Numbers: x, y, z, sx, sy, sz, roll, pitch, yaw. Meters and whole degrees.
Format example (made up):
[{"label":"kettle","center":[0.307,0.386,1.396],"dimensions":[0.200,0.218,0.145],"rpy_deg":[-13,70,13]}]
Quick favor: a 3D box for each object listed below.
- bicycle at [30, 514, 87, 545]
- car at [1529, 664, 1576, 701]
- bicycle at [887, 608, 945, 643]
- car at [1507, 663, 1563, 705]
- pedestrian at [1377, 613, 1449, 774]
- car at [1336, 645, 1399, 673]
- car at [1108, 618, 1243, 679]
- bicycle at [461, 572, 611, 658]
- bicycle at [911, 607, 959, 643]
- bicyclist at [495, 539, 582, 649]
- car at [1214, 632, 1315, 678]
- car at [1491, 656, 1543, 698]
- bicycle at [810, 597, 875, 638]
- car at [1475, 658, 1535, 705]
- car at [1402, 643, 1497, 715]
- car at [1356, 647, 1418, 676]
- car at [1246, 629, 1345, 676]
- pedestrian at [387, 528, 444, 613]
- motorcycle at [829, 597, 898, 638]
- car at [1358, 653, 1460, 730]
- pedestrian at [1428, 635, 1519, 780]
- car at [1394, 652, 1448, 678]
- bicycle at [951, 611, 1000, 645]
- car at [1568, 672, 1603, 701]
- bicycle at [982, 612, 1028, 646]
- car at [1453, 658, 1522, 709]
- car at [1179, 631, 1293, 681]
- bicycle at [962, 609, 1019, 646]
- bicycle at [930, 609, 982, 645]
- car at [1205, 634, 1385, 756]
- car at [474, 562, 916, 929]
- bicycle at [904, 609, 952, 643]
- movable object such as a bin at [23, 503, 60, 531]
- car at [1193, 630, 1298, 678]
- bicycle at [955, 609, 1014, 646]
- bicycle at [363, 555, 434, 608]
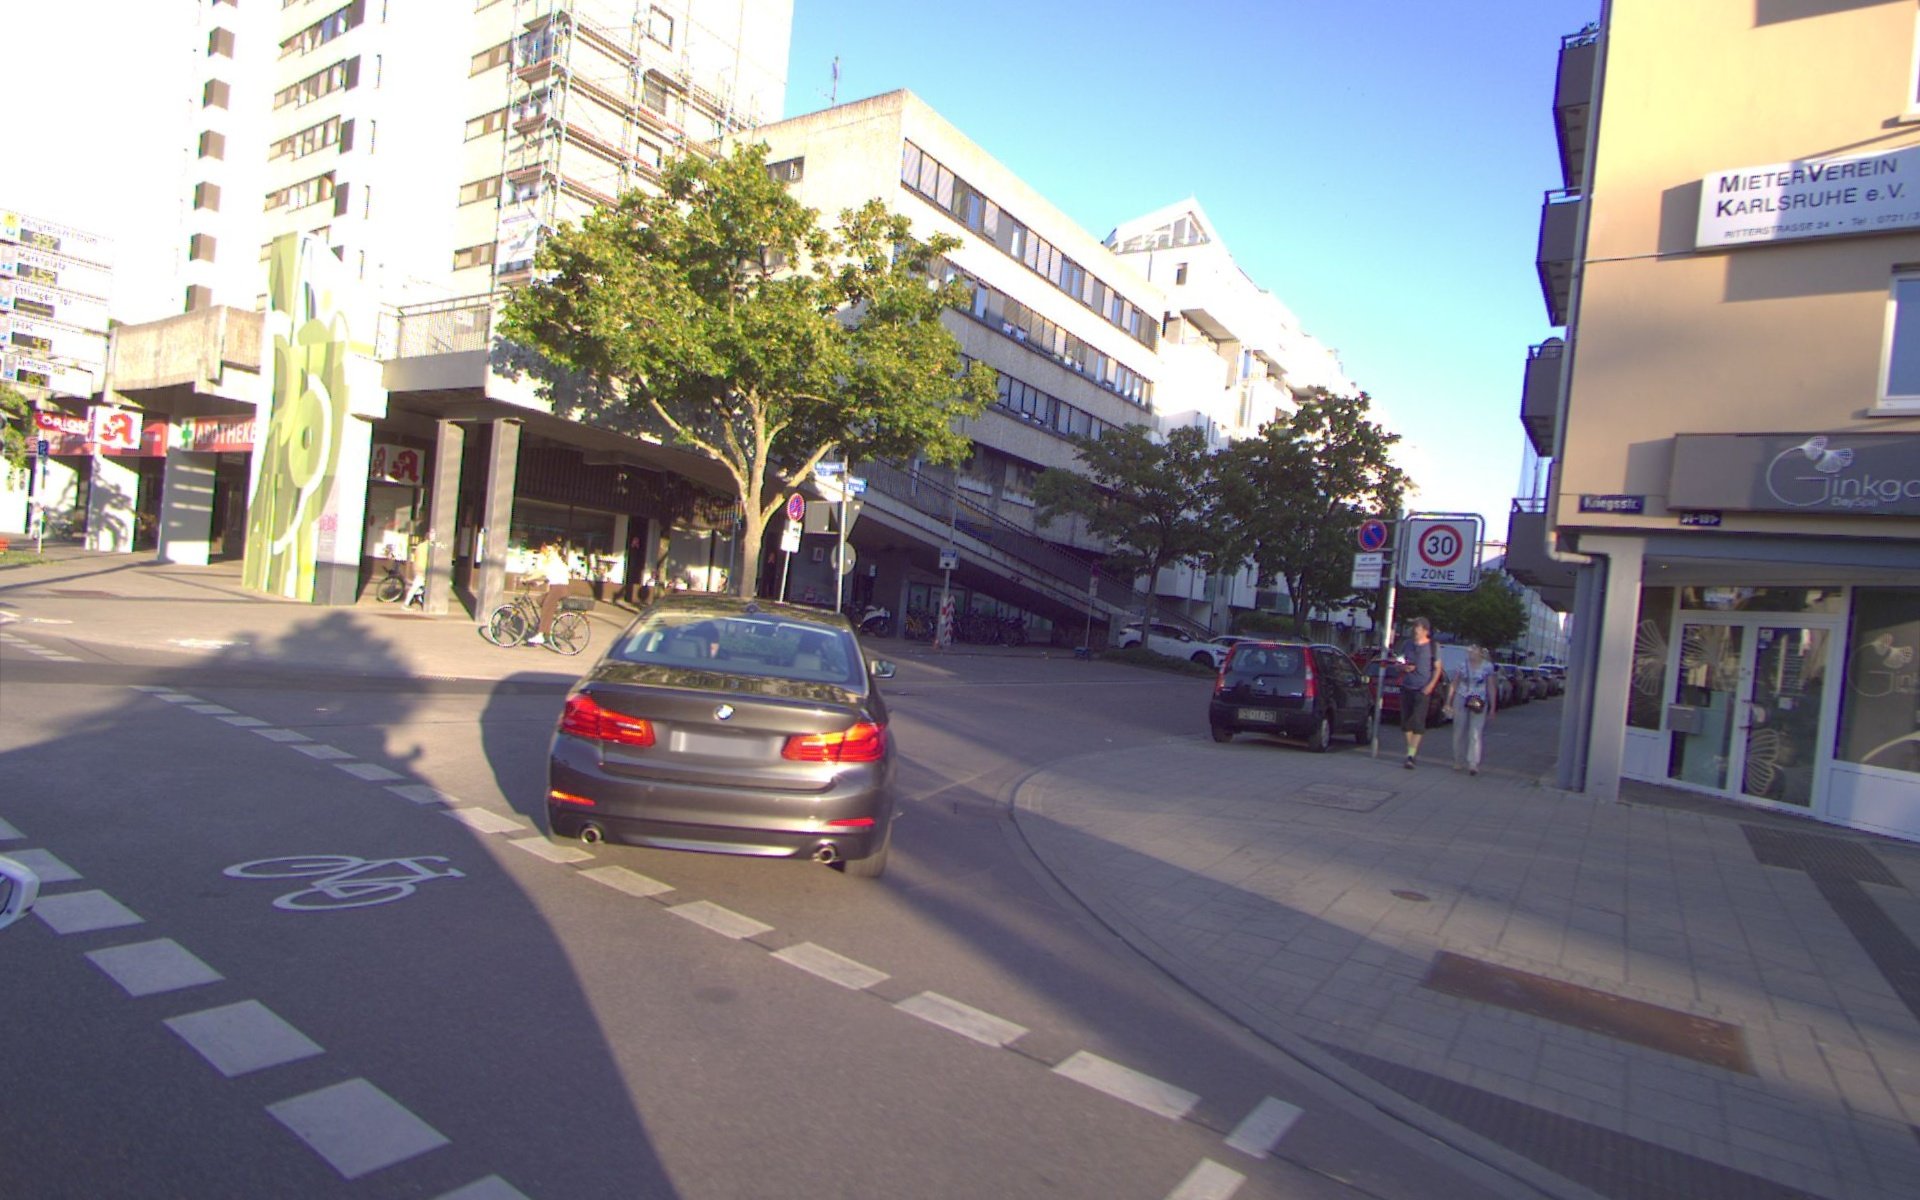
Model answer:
[{"label":"bicycle","center":[-34.886,-2.723,38.959],"dimensions":[0.426,1.062,1.571],"rpy_deg":[6,2,33]},{"label":"car","center":[36.435,5.084,61.758],"dimensions":[2.002,1.849,4.771],"rpy_deg":[6,-2,35]},{"label":"bicycle","center":[-1.471,0.843,33.341],"dimensions":[1.736,0.963,0.698],"rpy_deg":[7,2,30]},{"label":"car","center":[31.855,4.688,55.660],"dimensions":[2.125,1.849,4.771],"rpy_deg":[6,-2,35]},{"label":"pedestrian","center":[5.630,1.147,12.493],"dimensions":[0.535,1.882,0.838],"rpy_deg":[5,0,35]},{"label":"car","center":[26.484,3.864,65.472],"dimensions":[3.480,1.337,1.441],"rpy_deg":[6,-2,34]},{"label":"car","center":[8.099,1.814,37.992],"dimensions":[4.553,1.712,1.750],"rpy_deg":[6,-2,36]},{"label":"bicycle","center":[-7.072,0.240,16.811],"dimensions":[2.107,1.188,0.820],"rpy_deg":[6,1,7]},{"label":"bicycle","center":[-0.867,0.841,34.588],"dimensions":[1.541,1.051,0.484],"rpy_deg":[7,2,31]},{"label":"bicyclist","center":[-7.025,-0.092,16.799],"dimensions":[0.943,1.714,0.820],"rpy_deg":[5,2,7]},{"label":"car","center":[13.853,2.478,45.824],"dimensions":[3.966,1.554,1.638],"rpy_deg":[6,-2,34]},{"label":"car","center":[25.663,3.576,46.297],"dimensions":[1.707,1.573,4.193],"rpy_deg":[6,-2,32]},{"label":"bicycle","center":[-3.753,0.553,32.193],"dimensions":[1.891,1.071,0.781],"rpy_deg":[7,2,30]},{"label":"car","center":[20.865,3.085,38.412],"dimensions":[1.580,1.504,4.238],"rpy_deg":[5,0,33]},{"label":"car","center":[14.610,2.329,29.891],"dimensions":[1.969,1.886,4.528],"rpy_deg":[1,-3,33]},{"label":"car","center":[28.520,4.117,67.158],"dimensions":[3.480,1.477,1.441],"rpy_deg":[6,-2,34]},{"label":"car","center":[16.716,2.611,50.180],"dimensions":[4.215,1.775,1.638],"rpy_deg":[6,-2,34]},{"label":"pedestrian","center":[-11.962,-0.637,22.130],"dimensions":[0.685,1.775,0.724],"rpy_deg":[7,3,11]},{"label":"motorcycle","center":[-3.160,0.565,32.865],"dimensions":[2.117,1.071,0.785],"rpy_deg":[7,2,30]},{"label":"car","center":[10.096,1.997,22.471],"dimensions":[1.629,1.457,4.220],"rpy_deg":[2,-2,30]},{"label":"pedestrian","center":[6.277,1.291,12.281],"dimensions":[0.755,1.635,0.819],"rpy_deg":[5,0,36]},{"label":"car","center":[35.165,4.963,76.780],"dimensions":[3.450,1.471,1.441],"rpy_deg":[6,-2,34]},{"label":"bicycle","center":[0.571,1.027,36.758],"dimensions":[1.539,1.051,0.649],"rpy_deg":[7,2,22]},{"label":"car","center":[49.350,6.853,79.351],"dimensions":[2.002,1.849,4.771],"rpy_deg":[6,-2,35]},{"label":"bicycle","center":[1.747,1.123,38.863],"dimensions":[1.539,1.143,0.649],"rpy_deg":[7,2,22]},{"label":"car","center":[18.068,2.818,34.376],"dimensions":[1.580,1.504,3.988],"rpy_deg":[5,0,33]},{"label":"car","center":[11.406,2.291,41.571],"dimensions":[4.110,1.477,1.752],"rpy_deg":[6,-2,31]},{"label":"bicycle","center":[1.122,1.007,37.553],"dimensions":[1.914,1.143,0.649],"rpy_deg":[7,2,23]},{"label":"bicycle","center":[-0.147,0.970,36.230],"dimensions":[1.800,1.051,0.484],"rpy_deg":[7,2,31]},{"label":"car","center":[5.276,1.409,15.563],"dimensions":[1.591,1.578,3.804],"rpy_deg":[2,-2,35]},{"label":"car","center":[-1.574,0.706,6.816],"dimensions":[1.776,1.486,4.615],"rpy_deg":[7,-2,-10]},{"label":"bicycle","center":[-1.083,0.882,33.864],"dimensions":[1.541,0.963,0.484],"rpy_deg":[7,2,31]},{"label":"movable object such as a bin","center":[-50.011,-4.491,54.783],"dimensions":[1.070,1.330,1.182],"rpy_deg":[6,1,33]},{"label":"car","center":[12.544,2.374,44.251],"dimensions":[4.013,1.554,1.640],"rpy_deg":[6,-2,31]},{"label":"bicycle","center":[0.942,1.046,38.389],"dimensions":[2.044,1.143,0.649],"rpy_deg":[7,2,23]},{"label":"bicycle","center":[-12.979,-0.420,23.266],"dimensions":[1.311,1.061,0.458],"rpy_deg":[7,2,5]}]
